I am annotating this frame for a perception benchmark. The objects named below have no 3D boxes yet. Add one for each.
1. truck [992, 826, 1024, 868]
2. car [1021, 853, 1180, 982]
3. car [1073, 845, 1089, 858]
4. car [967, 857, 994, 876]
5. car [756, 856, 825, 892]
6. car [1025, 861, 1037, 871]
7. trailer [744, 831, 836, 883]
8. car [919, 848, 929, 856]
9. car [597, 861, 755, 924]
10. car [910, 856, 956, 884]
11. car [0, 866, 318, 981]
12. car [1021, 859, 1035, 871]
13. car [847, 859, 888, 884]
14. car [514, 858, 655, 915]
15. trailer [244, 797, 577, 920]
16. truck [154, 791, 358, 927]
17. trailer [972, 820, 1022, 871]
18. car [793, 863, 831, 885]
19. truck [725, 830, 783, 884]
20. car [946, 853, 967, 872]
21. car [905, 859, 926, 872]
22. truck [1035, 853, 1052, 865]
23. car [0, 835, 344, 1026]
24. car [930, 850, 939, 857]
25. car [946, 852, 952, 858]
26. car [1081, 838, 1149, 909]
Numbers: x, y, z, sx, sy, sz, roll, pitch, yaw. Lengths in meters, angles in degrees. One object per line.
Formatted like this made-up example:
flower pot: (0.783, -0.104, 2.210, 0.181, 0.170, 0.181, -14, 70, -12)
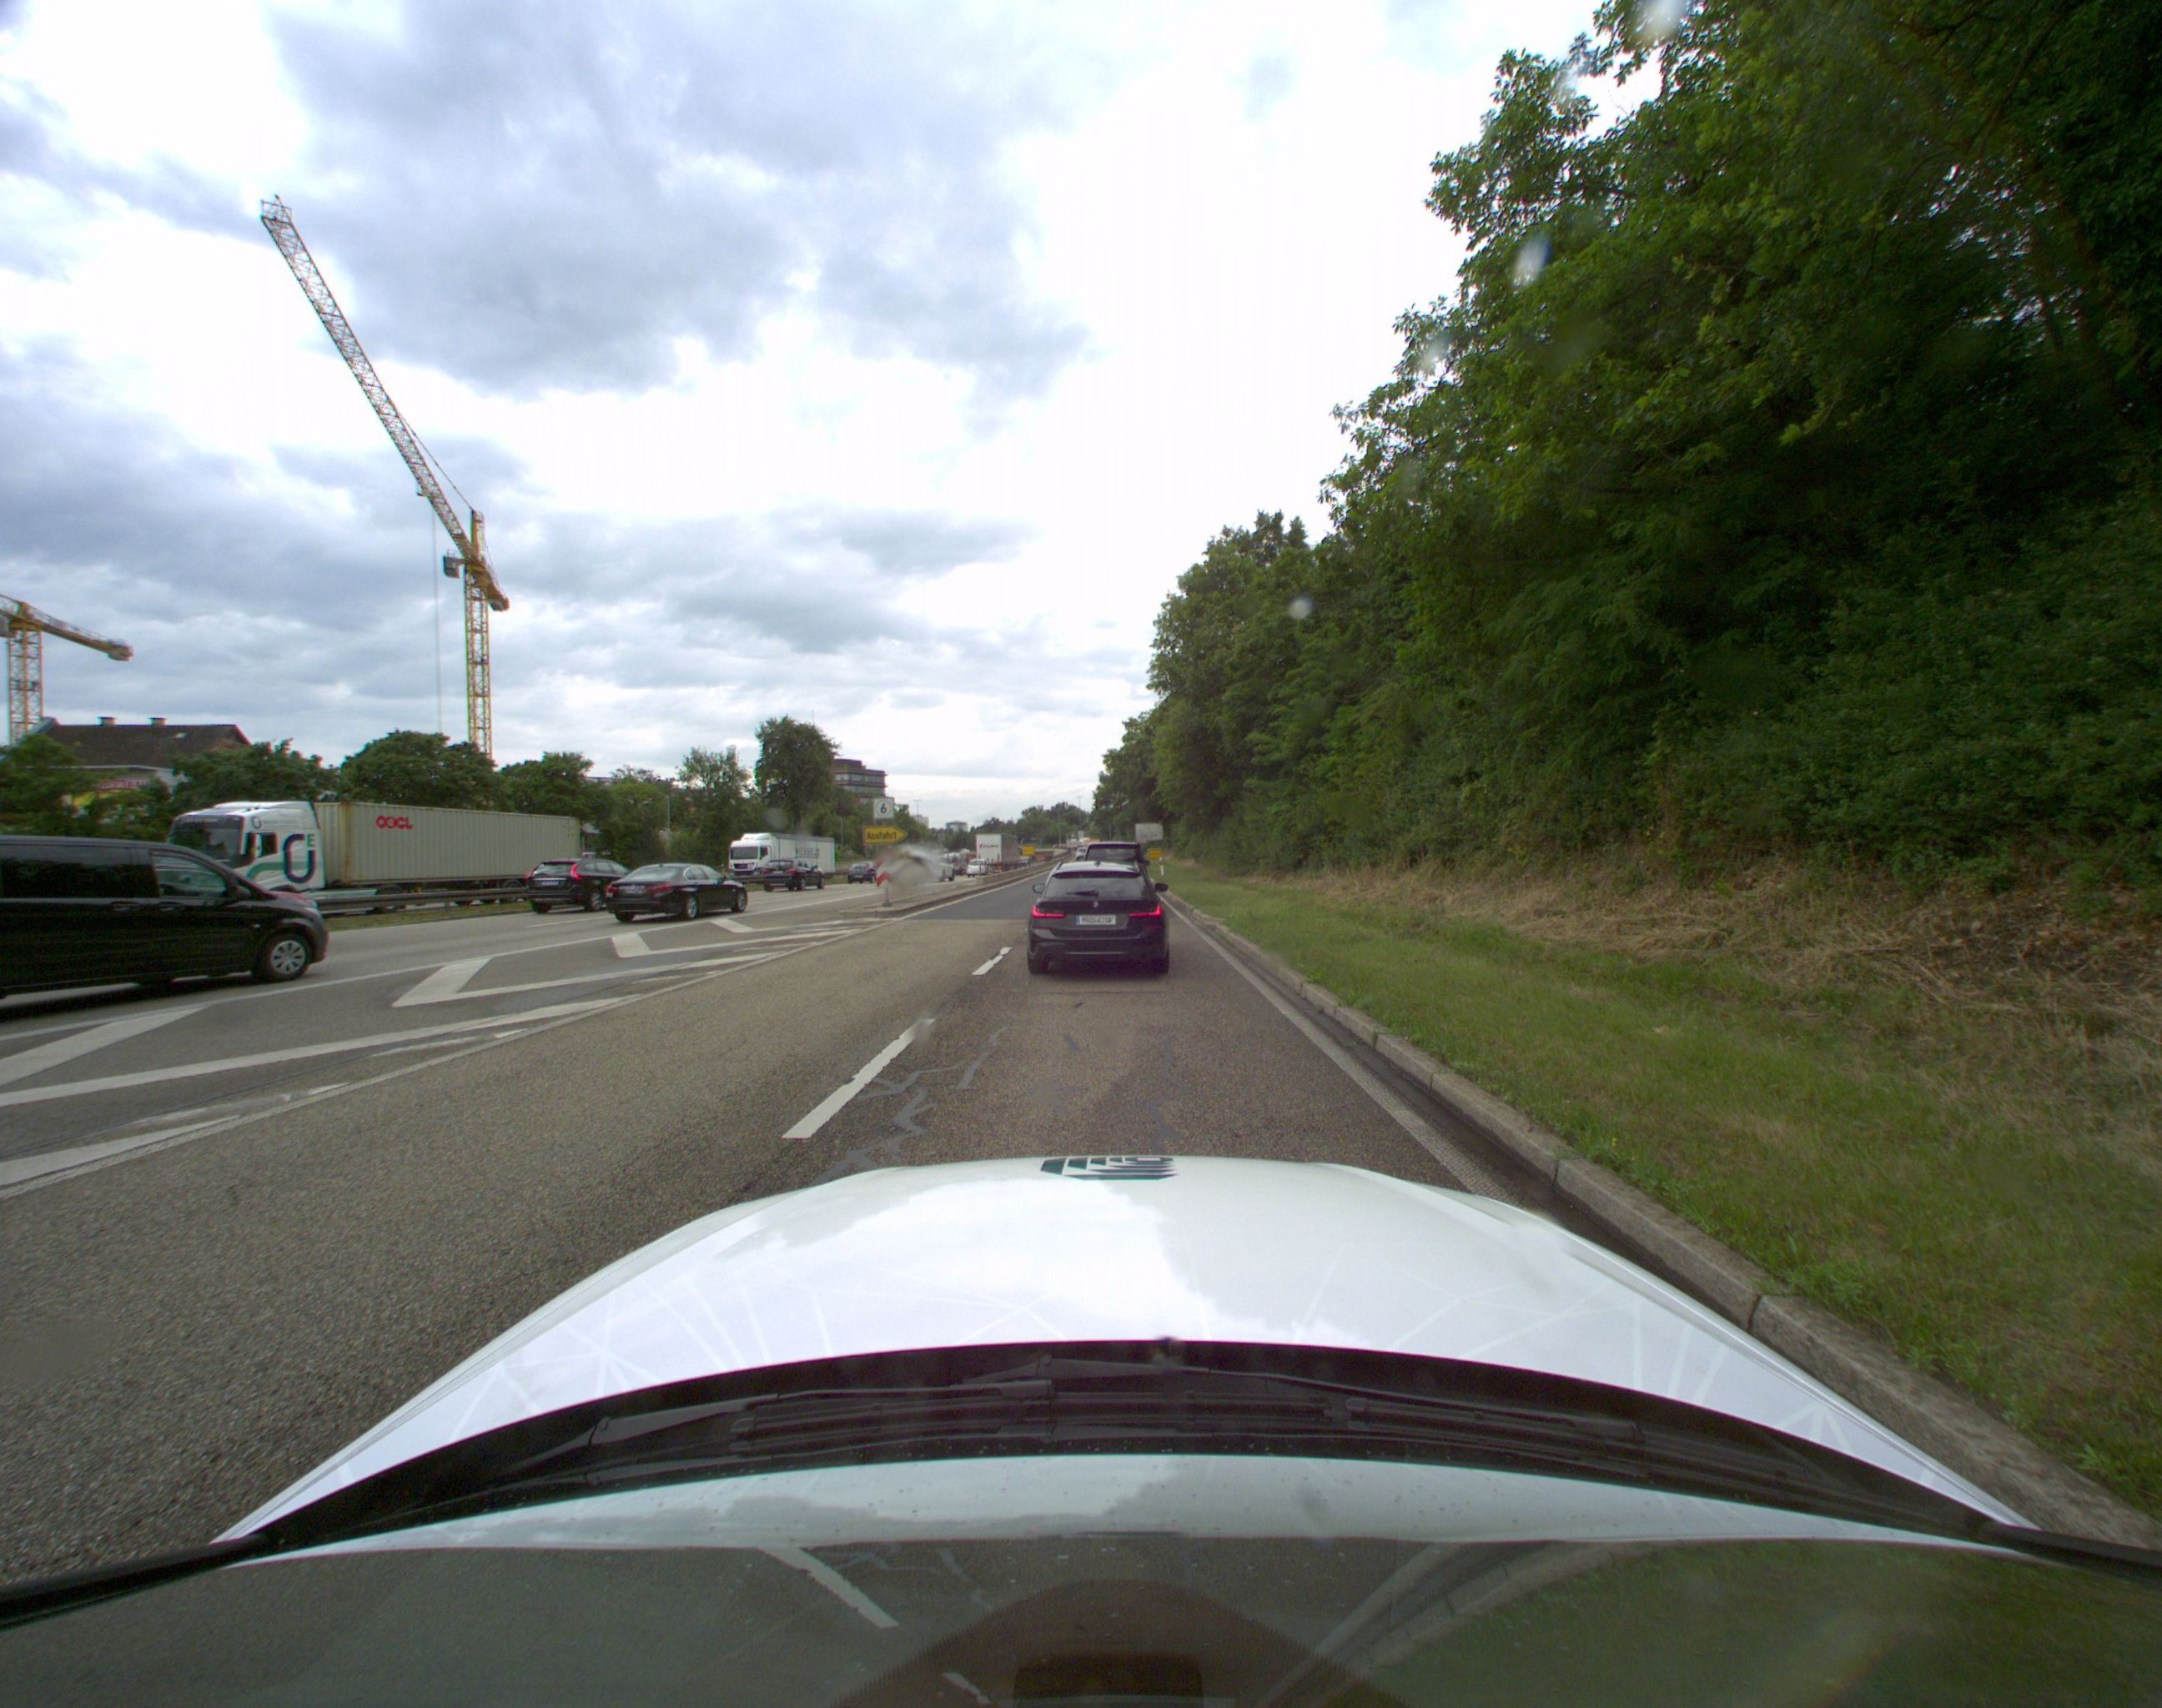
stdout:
truck: (-8.197, -0.758, 91.778, 3.072, 4.697, 4.234, 0, 0, 2)
car: (0.249, 0.745, 11.526, 1.840, 1.467, 4.000, -1, 0, 0)
car: (0.068, -0.329, 109.978, 1.922, 1.596, 3.880, -1, 0, 3)
car: (-8.400, 1.034, 68.516, 1.762, 1.549, 3.493, -1, 0, 1)
car: (-14.713, 0.983, 41.546, 1.884, 1.681, 4.307, -1, 0, 1)
car: (-7.626, 1.835, 125.002, 1.442, 1.490, 3.064, -1, 0, 3)
trailer: (-24.794, 0.224, 70.480, 2.584, 3.982, 13.788, -1, 0, 2)
car: (-32.953, -0.372, 171.236, 1.432, 1.586, 3.245, -1, 0, 2)
car: (-10.661, 0.951, 21.906, 1.705, 1.457, 4.670, -1, 0, 3)
car: (-9.475, 0.995, 52.477, 1.939, 1.692, 4.509, -1, 0, 2)
car: (-15.580, 1.033, 13.618, 1.759, 1.567, 3.948, -1, 0, 3)
car: (-7.470, 1.568, 115.000, 1.695, 1.528, 3.471, -1, 0, 2)
car: (-14.613, 1.165, 55.885, 1.681, 1.608, 4.009, 0, 0, 1)
car: (-15.680, 0.961, 26.032, 1.745, 1.635, 4.269, -1, 0, 2)
trailer: (-26.336, 0.158, 33.597, 2.388, 4.029, 13.085, -1, 0, 2)
truck: (-26.626, 0.155, 26.524, 2.396, 4.020, 4.002, -1, 0, 2)
trailer: (-8.480, -0.781, 84.160, 3.120, 4.725, 14.565, 0, 0, 2)
car: (-20.512, 1.525, 62.248, 1.591, 1.584, 3.565, -1, 0, 2)
truck: (-25.038, 0.221, 62.542, 2.586, 3.990, 4.002, -1, 0, 2)
car: (-13.335, 0.897, 87.289, 1.437, 2.044, 3.683, -1, 0, 3)
car: (-19.738, 1.361, 97.271, 1.671, 1.478, 3.709, -1, 0, 1)
truck: (-8.644, 1.159, 187.644, 3.262, 2.509, 7.664, -1, 0, 2)
car: (-11.465, 0.760, 9.105, 1.987, 1.851, 4.812, -1, 0, 1)
car: (-33.939, -0.155, 189.145, 1.433, 1.446, 3.243, -1, 0, 0)
car: (-36.489, 0.197, 225.130, 1.431, 1.497, 3.160, -1, 0, -3)
car: (0.984, 0.522, 23.763, 1.789, 1.872, 4.002, -1, 0, 2)
